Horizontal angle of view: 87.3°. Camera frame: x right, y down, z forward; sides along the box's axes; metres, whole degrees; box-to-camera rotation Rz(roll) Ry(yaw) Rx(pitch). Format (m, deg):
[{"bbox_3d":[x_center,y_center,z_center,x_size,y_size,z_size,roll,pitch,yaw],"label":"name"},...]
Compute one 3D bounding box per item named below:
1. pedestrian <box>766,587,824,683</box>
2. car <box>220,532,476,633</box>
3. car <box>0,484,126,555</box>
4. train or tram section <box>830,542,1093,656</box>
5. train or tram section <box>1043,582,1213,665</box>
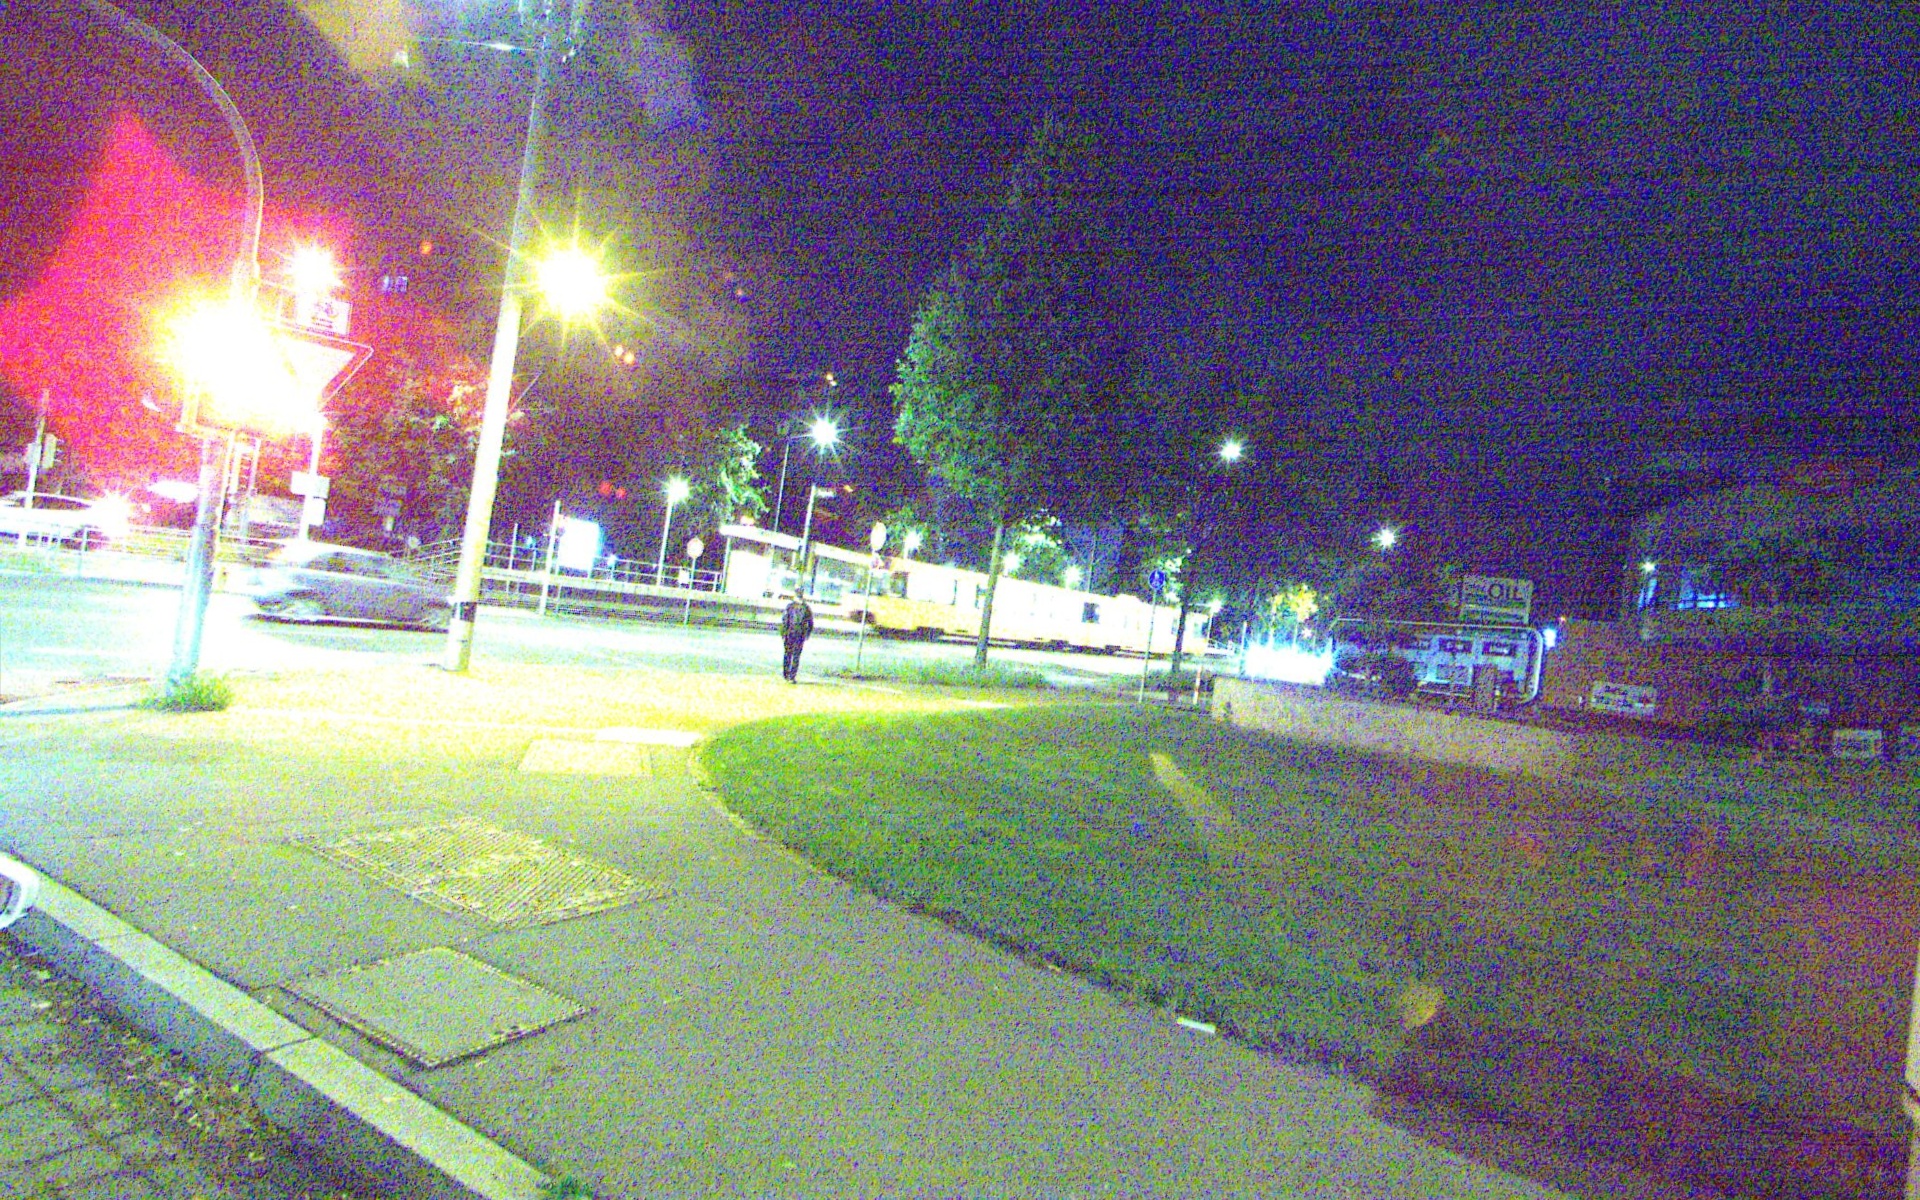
[{"bbox_3d":[-2.982,0.622,18.130,0.867,1.677,0.835,3,1,-18],"label":"pedestrian"},{"bbox_3d":[-11.381,-0.278,18.921,1.617,1.438,3.687,7,0,35],"label":"car"},{"bbox_3d":[-28.650,-2.560,30.740,1.911,1.662,4.404,5,-3,35],"label":"car"},{"bbox_3d":[0.923,0.317,51.049,2.918,3.896,18.427,8,0,35],"label":"train or tram section"},{"bbox_3d":[11.671,1.840,66.340,2.919,3.894,18.866,5,-2,35],"label":"train or tram section"}]
